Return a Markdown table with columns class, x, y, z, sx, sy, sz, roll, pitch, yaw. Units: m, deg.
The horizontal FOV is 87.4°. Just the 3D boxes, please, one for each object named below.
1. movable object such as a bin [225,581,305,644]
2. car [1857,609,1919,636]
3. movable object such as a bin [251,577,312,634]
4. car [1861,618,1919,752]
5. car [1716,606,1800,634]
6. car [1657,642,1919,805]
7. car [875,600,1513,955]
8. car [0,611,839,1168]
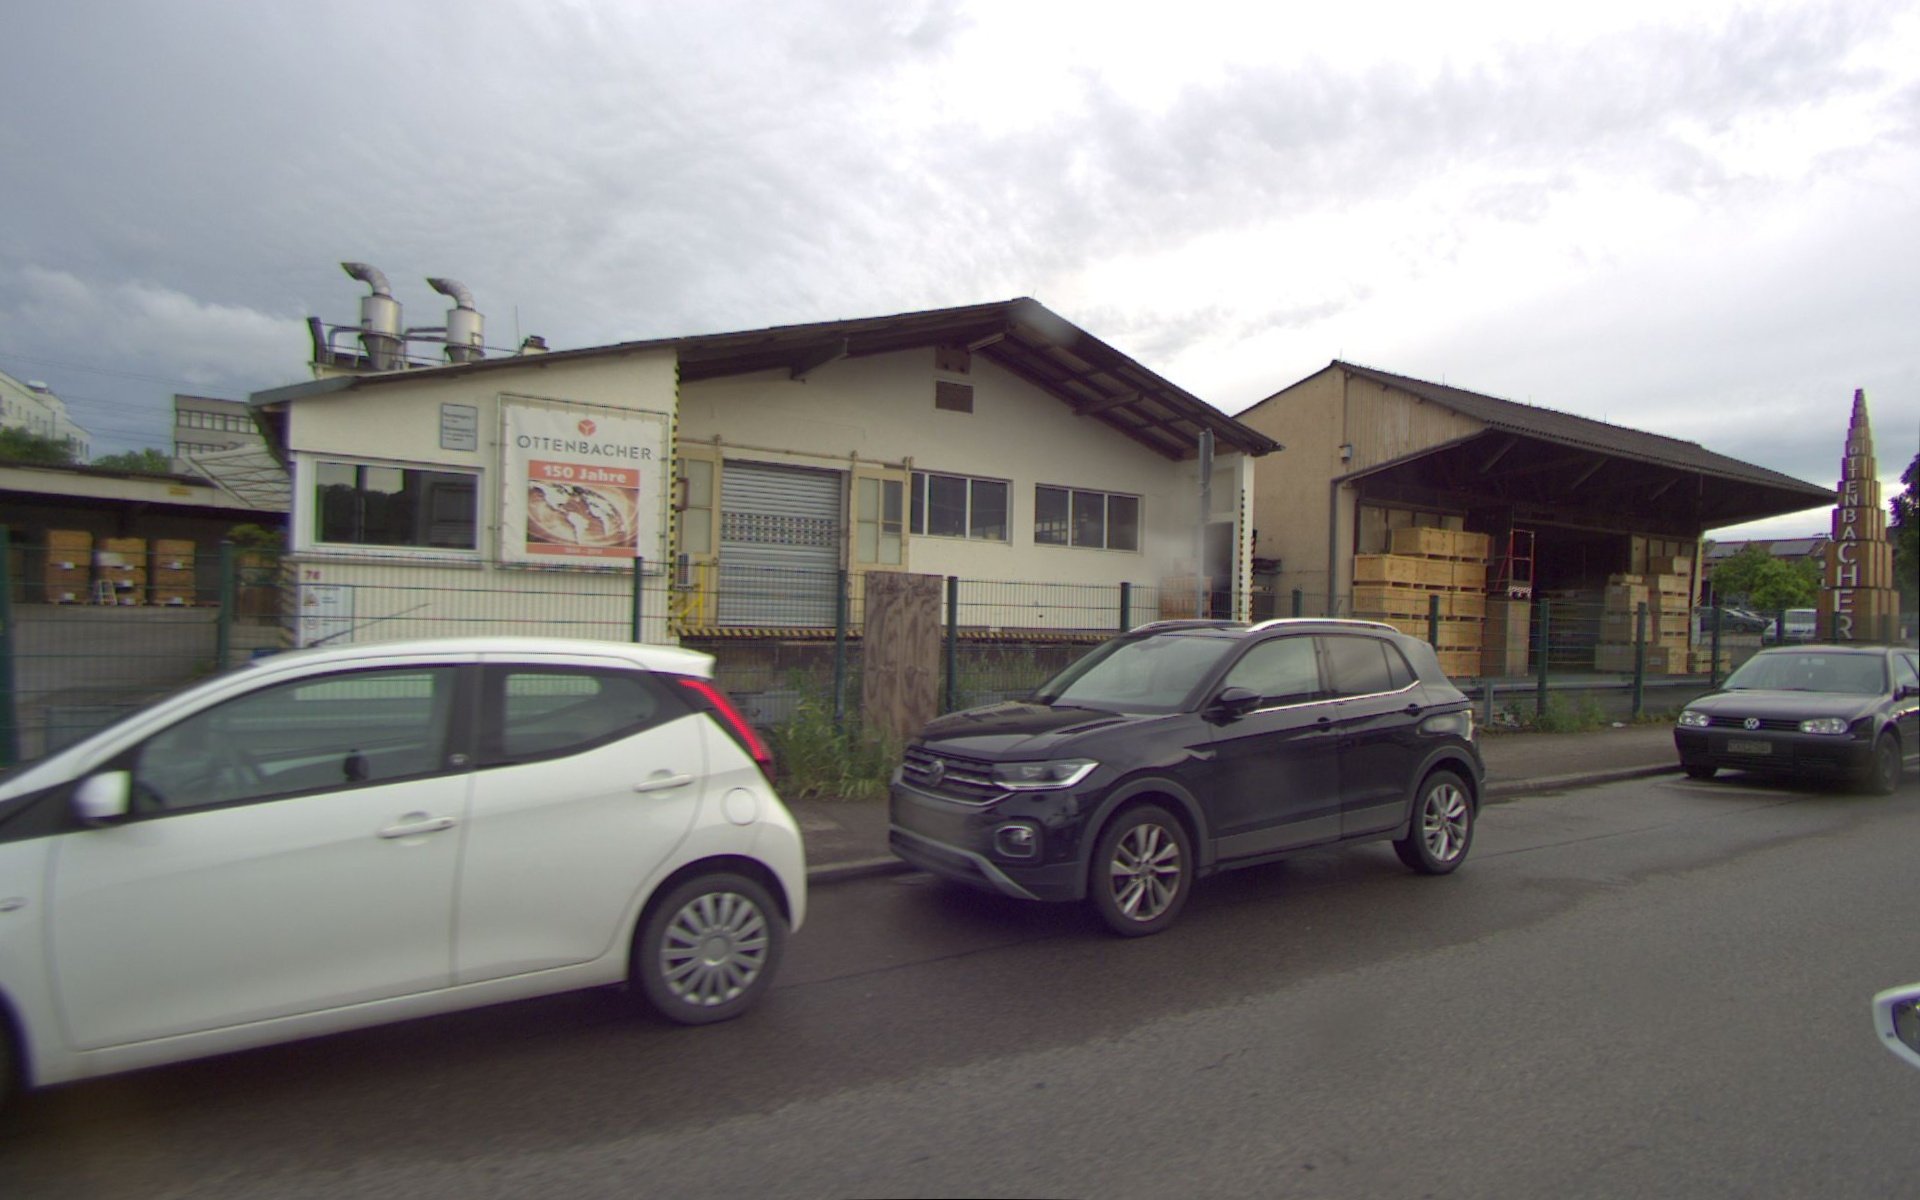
| class | x | y | z | sx | sy | sz | roll | pitch | yaw |
| --- | --- | --- | --- | --- | --- | --- | --- | --- | --- |
| movable object such as a bin | -16.377 | 0.288 | 23.728 | 1.471 | 1.405 | 1.273 | 2 | 0 | -33 |
| car | 58.340 | 1.412 | 62.077 | 1.867 | 1.572 | 4.028 | 2 | 0 | -35 |
| movable object such as a bin | -17.507 | 0.146 | 25.955 | 1.228 | 1.405 | 1.318 | 2 | 1 | -33 |
| car | 14.966 | 1.183 | 14.384 | 4.394 | 1.791 | 1.762 | 2 | -4 | -31 |
| car | 51.955 | 1.279 | 65.433 | 1.756 | 1.628 | 3.957 | 2 | 0 | -37 |
| car | 9.560 | 1.207 | 11.014 | 4.271 | 1.467 | 1.652 | 2 | -2 | -33 |
| car | 1.564 | 0.881 | 6.295 | 3.872 | 1.605 | 1.652 | 2 | -3 | -32 |
| car | -2.449 | 0.833 | 3.820 | 3.618 | 1.529 | 1.609 | 2 | -2 | -30 |
